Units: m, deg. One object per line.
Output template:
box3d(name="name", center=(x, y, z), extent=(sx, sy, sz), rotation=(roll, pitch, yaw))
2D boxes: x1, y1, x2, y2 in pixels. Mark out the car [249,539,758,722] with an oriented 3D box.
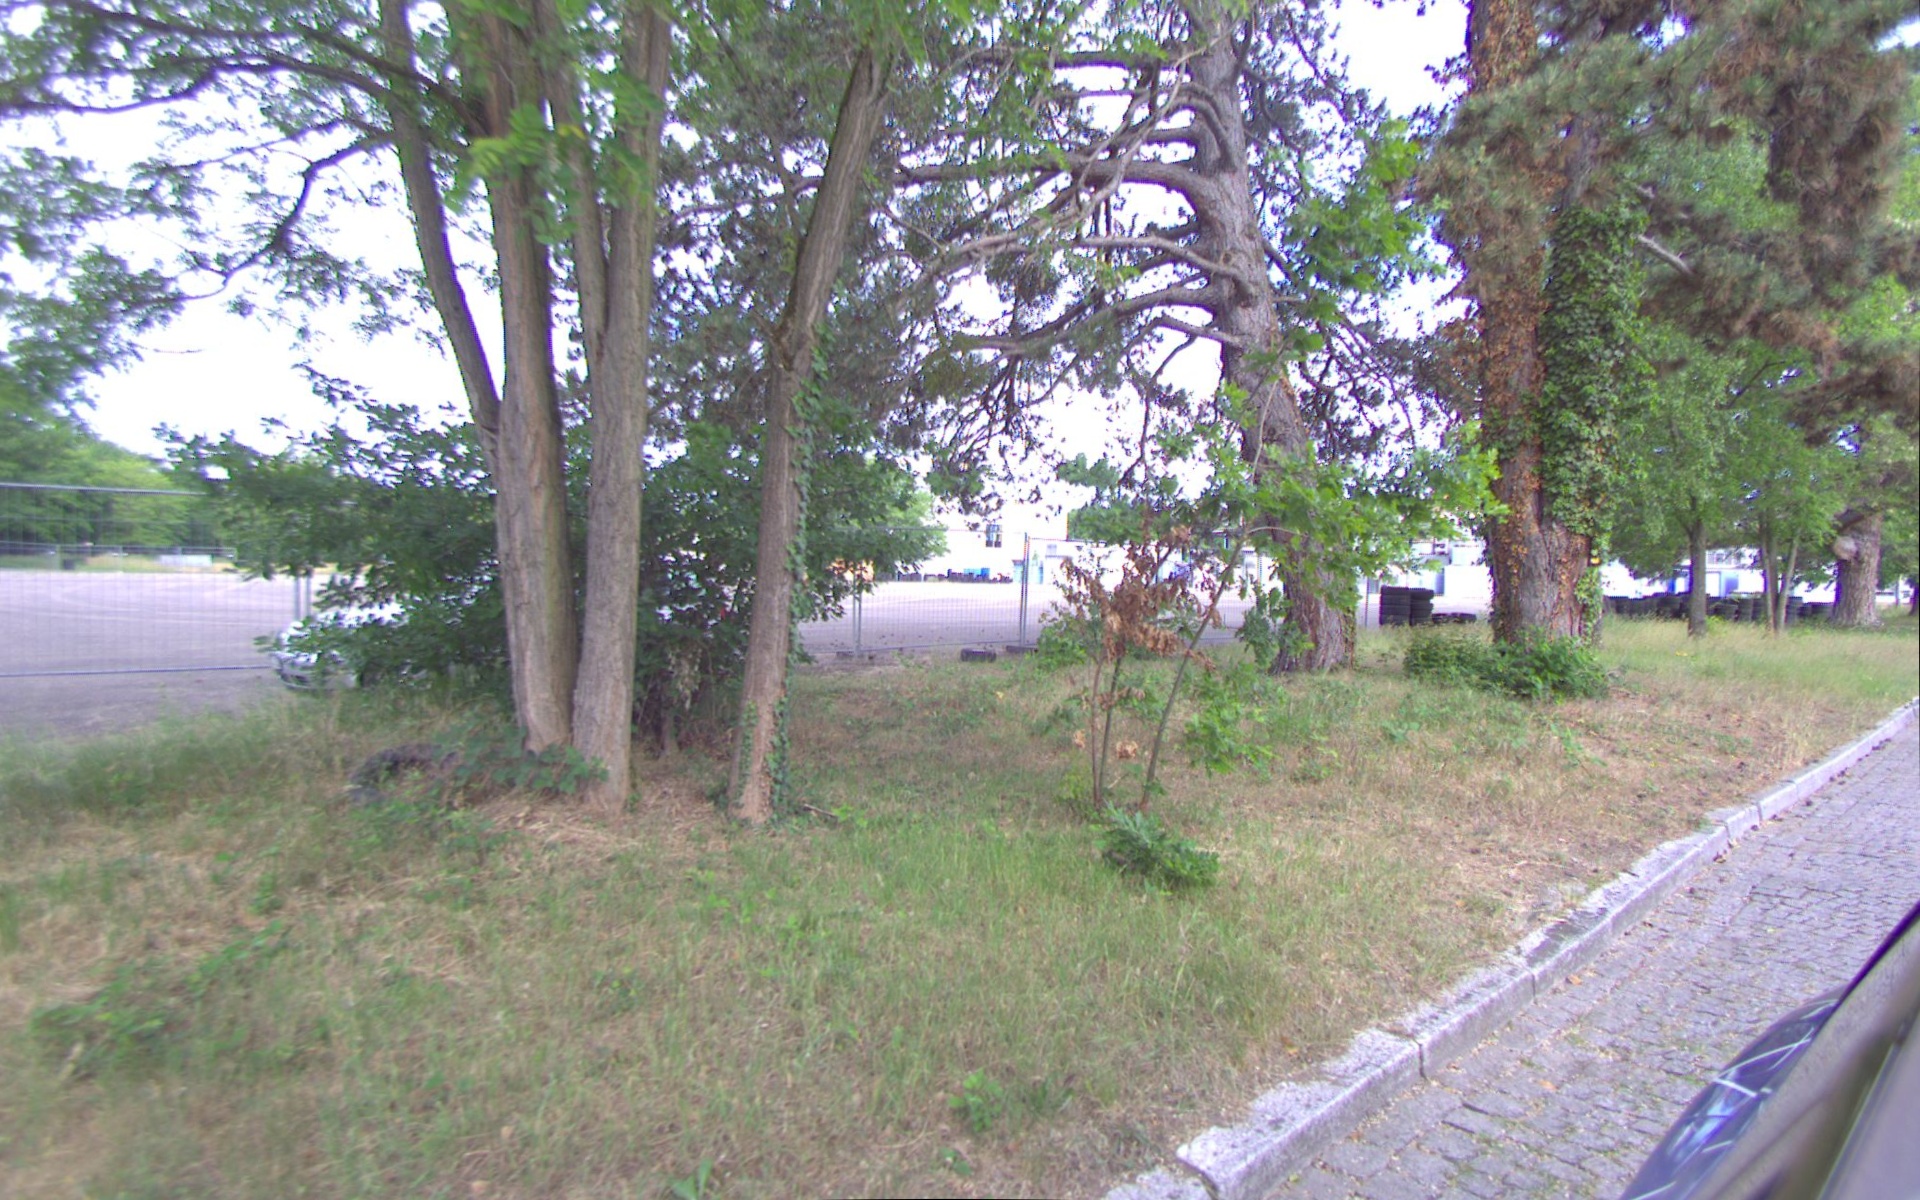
box3d(name="car", center=(-4.395, 0.191, 10.252), extent=(4.415, 1.468, 1.675), rotation=(-1, 2, -44))
